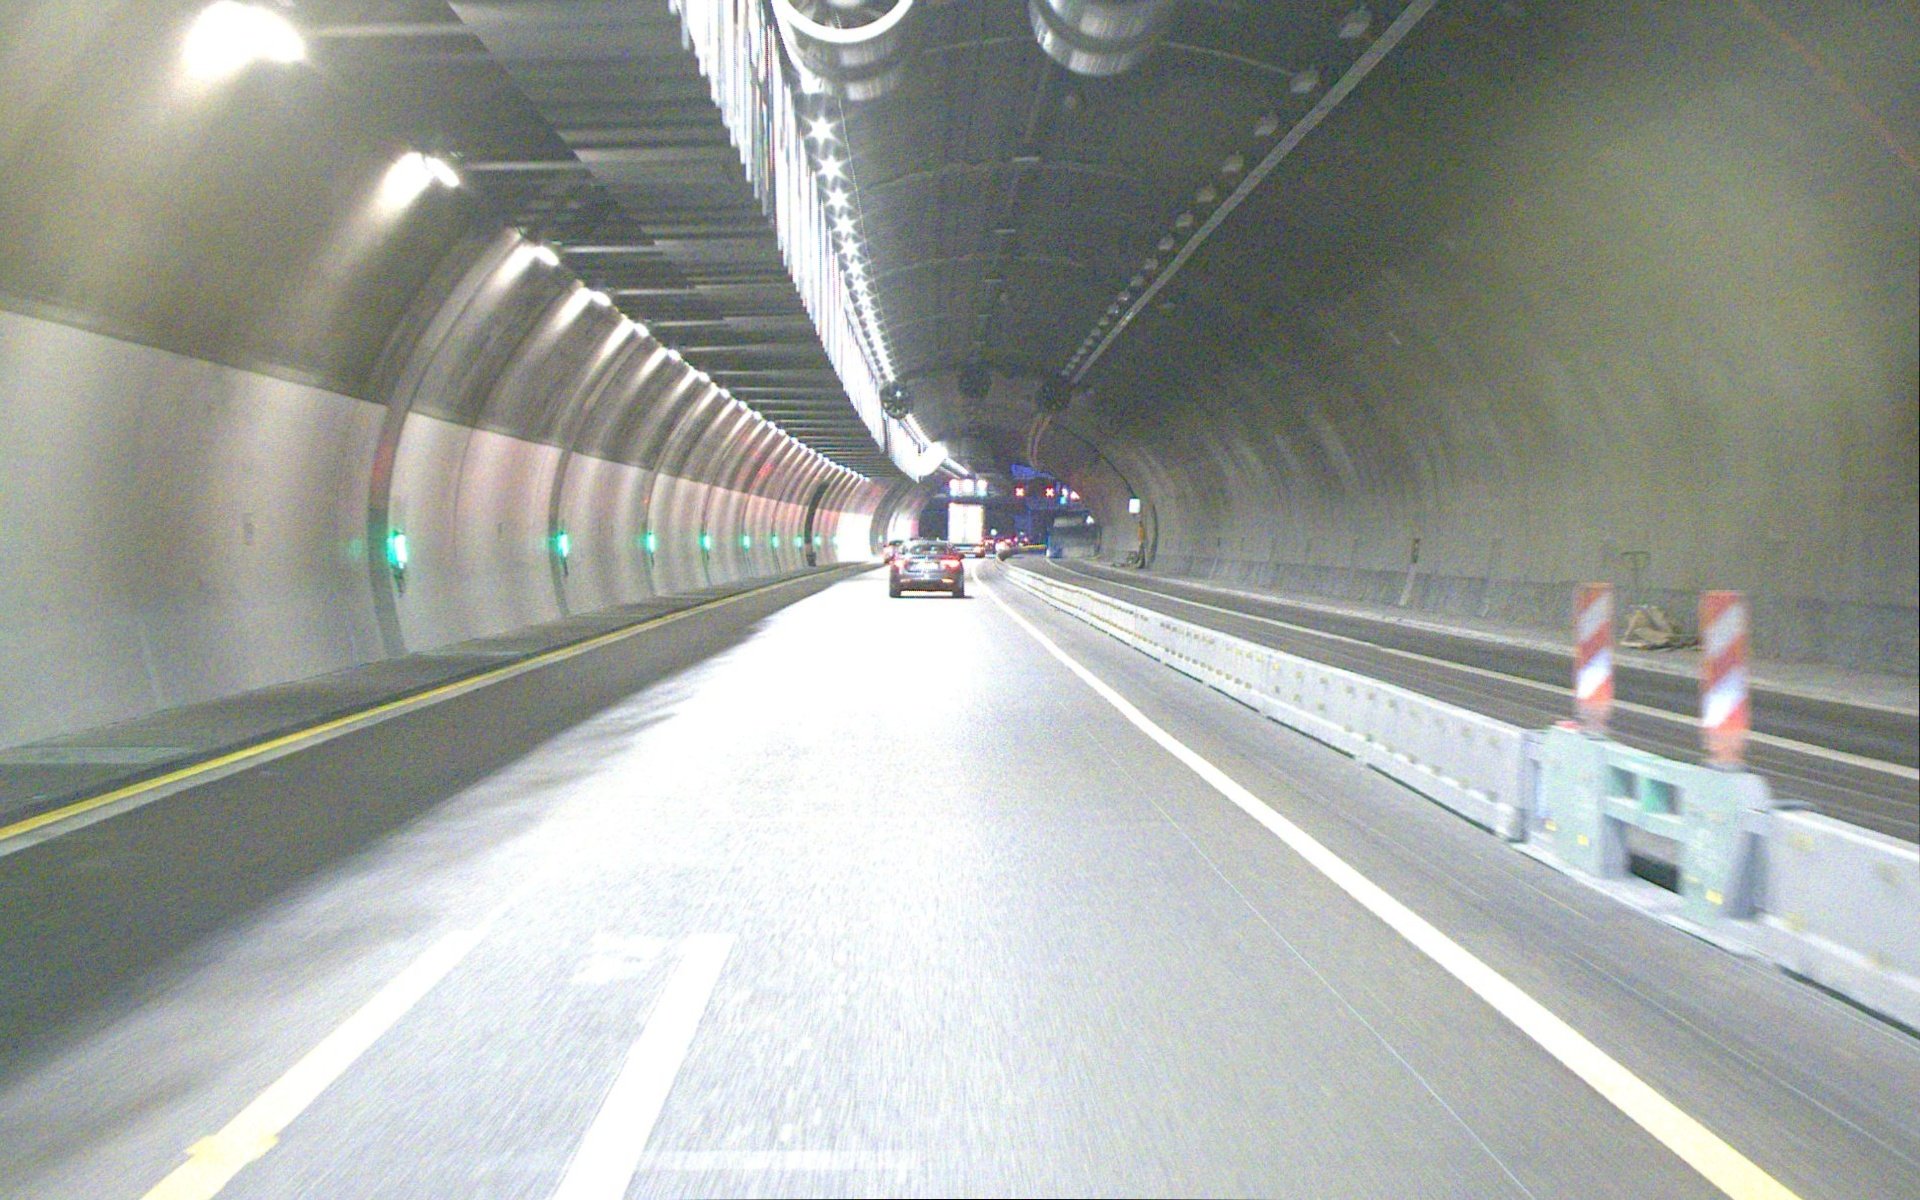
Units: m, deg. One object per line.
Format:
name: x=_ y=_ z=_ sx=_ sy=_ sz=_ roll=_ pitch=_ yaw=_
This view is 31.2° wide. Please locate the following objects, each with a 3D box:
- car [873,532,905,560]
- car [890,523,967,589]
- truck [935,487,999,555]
car: x=-4.199 y=-3.190 z=203.479 sx=1.827 sy=1.601 sz=4.000 roll=1 pitch=1 yaw=-1
car: x=-0.820 y=-1.110 z=86.850 sx=1.887 sy=1.601 sz=4.000 roll=1 pitch=1 yaw=-1
truck: x=0.567 y=-5.972 z=262.096 sx=4.546 sy=4.970 sz=9.599 roll=1 pitch=1 yaw=1
